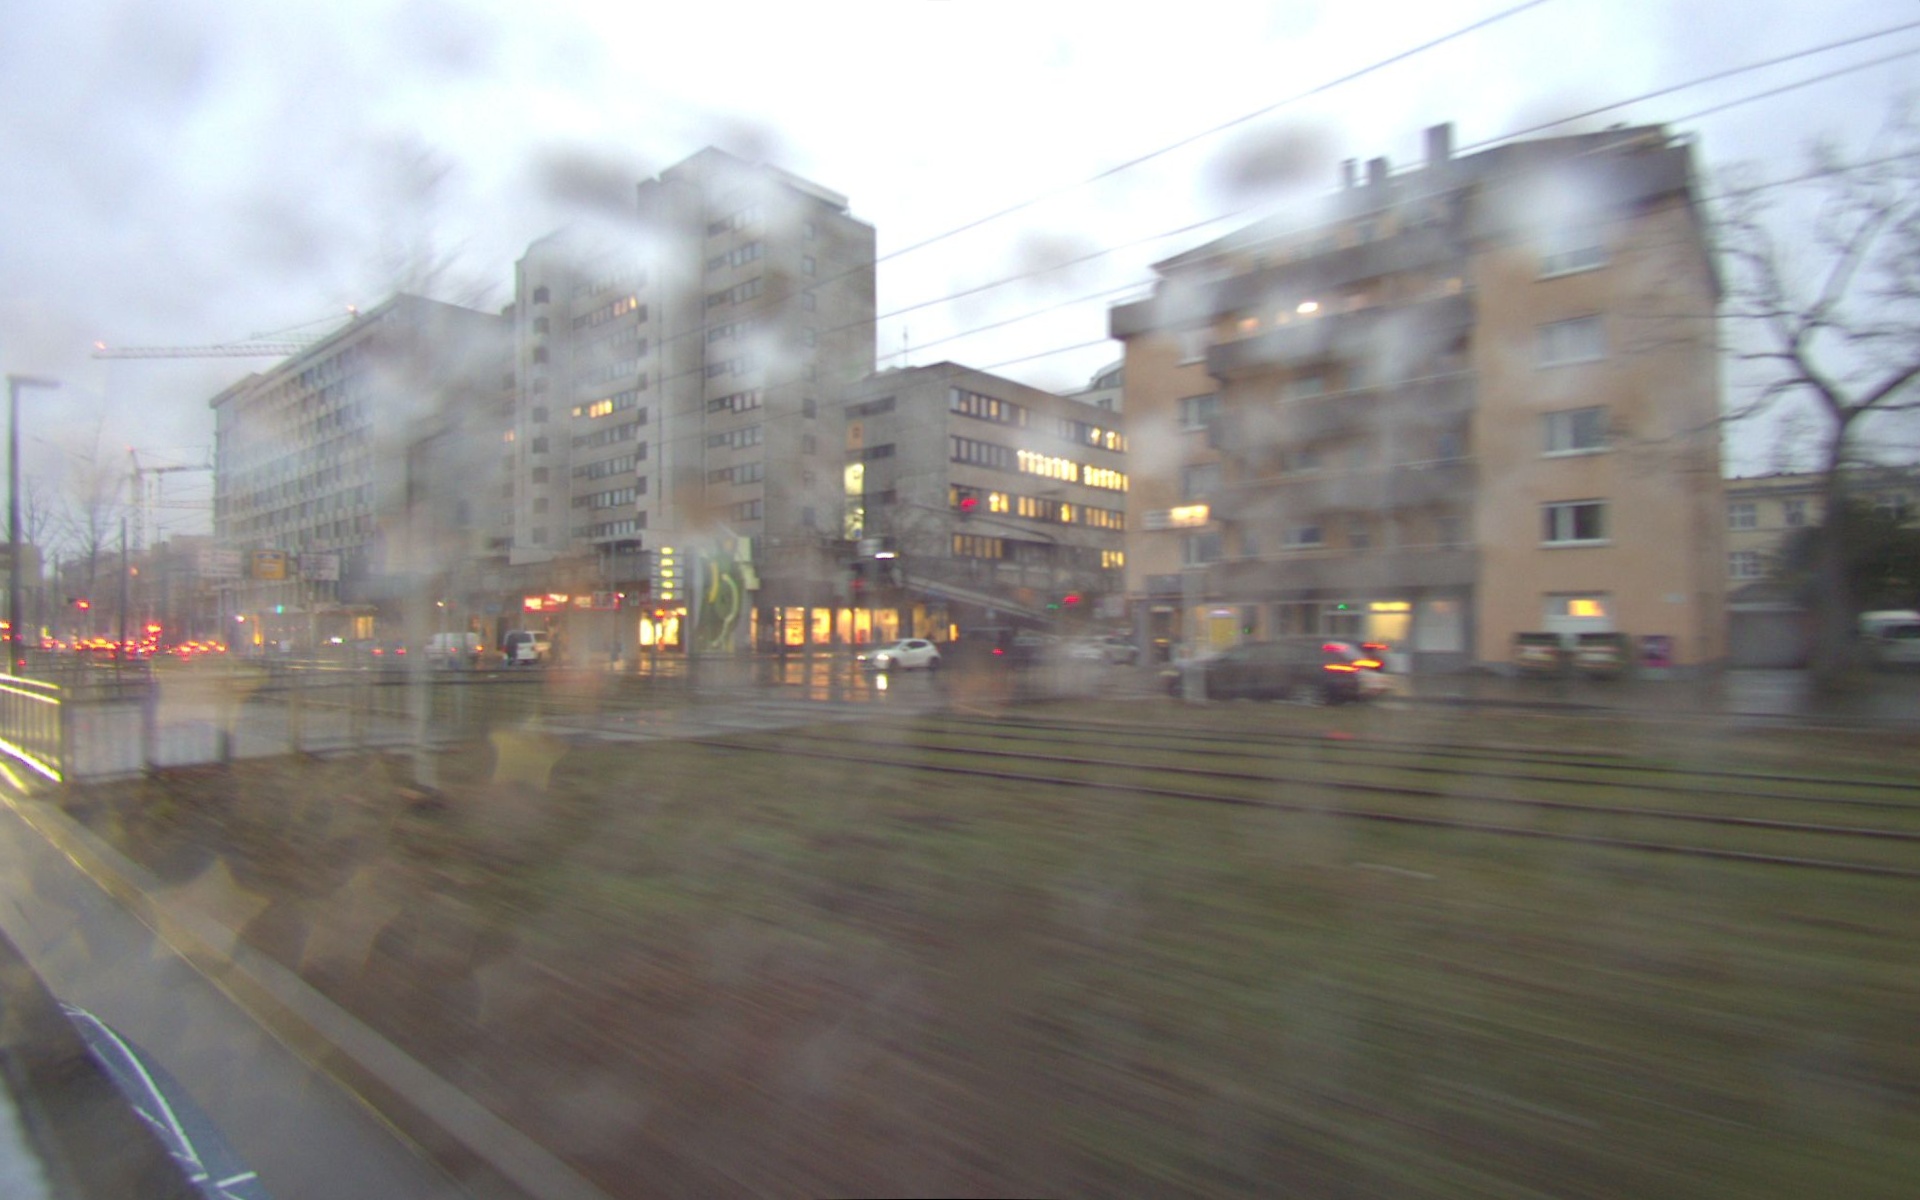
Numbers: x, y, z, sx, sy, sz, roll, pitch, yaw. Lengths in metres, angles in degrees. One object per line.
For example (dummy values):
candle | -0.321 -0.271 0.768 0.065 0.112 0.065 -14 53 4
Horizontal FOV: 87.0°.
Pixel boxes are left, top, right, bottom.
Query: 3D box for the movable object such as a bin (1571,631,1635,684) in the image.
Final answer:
movable object such as a bin | 18.735 1.668 29.499 1.423 1.492 1.097 -3 -3 39

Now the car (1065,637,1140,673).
car | 6.720 2.557 47.436 1.776 1.564 3.787 -2 -2 40

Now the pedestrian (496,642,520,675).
pedestrian | -20.703 2.677 46.337 0.629 1.501 0.783 -2 -2 34

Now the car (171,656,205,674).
car | -72.259 6.054 94.738 3.887 1.523 1.732 -2 -2 40

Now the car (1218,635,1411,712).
car | 8.444 1.688 24.291 3.997 1.597 1.783 -2 0 41

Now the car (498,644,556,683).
car | -26.465 3.850 61.972 1.969 2.029 4.579 -1 0 -6

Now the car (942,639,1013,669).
car | 0.965 2.980 55.932 3.626 1.613 1.605 -2 -2 30

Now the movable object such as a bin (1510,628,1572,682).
movable object such as a bin | 17.503 1.653 30.484 1.423 1.573 1.097 -3 -3 39

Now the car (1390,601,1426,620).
car | 38.381 0.939 86.665 1.756 1.564 3.787 -2 -2 40

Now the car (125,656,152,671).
car | -88.000 6.781 108.365 3.870 1.460 1.575 -2 -2 40

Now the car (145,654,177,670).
car | -78.127 6.066 98.990 3.870 1.460 1.732 -2 -2 40

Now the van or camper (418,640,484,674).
van or camper | -33.795 3.767 67.112 5.652 2.113 1.972 -3 -3 42

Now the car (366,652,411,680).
car | -35.930 4.119 63.561 1.967 1.557 4.715 0 -2 -36

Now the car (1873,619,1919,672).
car | 27.679 1.272 29.132 1.831 1.417 3.947 -2 -2 39

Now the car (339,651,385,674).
car | -47.974 4.995 81.224 1.656 1.630 3.780 -1 -2 -3

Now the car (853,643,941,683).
car | -2.760 2.773 45.136 1.684 1.523 3.947 -2 0 40

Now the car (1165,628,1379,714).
car | 6.614 1.437 21.668 3.997 1.597 1.783 -2 0 41
